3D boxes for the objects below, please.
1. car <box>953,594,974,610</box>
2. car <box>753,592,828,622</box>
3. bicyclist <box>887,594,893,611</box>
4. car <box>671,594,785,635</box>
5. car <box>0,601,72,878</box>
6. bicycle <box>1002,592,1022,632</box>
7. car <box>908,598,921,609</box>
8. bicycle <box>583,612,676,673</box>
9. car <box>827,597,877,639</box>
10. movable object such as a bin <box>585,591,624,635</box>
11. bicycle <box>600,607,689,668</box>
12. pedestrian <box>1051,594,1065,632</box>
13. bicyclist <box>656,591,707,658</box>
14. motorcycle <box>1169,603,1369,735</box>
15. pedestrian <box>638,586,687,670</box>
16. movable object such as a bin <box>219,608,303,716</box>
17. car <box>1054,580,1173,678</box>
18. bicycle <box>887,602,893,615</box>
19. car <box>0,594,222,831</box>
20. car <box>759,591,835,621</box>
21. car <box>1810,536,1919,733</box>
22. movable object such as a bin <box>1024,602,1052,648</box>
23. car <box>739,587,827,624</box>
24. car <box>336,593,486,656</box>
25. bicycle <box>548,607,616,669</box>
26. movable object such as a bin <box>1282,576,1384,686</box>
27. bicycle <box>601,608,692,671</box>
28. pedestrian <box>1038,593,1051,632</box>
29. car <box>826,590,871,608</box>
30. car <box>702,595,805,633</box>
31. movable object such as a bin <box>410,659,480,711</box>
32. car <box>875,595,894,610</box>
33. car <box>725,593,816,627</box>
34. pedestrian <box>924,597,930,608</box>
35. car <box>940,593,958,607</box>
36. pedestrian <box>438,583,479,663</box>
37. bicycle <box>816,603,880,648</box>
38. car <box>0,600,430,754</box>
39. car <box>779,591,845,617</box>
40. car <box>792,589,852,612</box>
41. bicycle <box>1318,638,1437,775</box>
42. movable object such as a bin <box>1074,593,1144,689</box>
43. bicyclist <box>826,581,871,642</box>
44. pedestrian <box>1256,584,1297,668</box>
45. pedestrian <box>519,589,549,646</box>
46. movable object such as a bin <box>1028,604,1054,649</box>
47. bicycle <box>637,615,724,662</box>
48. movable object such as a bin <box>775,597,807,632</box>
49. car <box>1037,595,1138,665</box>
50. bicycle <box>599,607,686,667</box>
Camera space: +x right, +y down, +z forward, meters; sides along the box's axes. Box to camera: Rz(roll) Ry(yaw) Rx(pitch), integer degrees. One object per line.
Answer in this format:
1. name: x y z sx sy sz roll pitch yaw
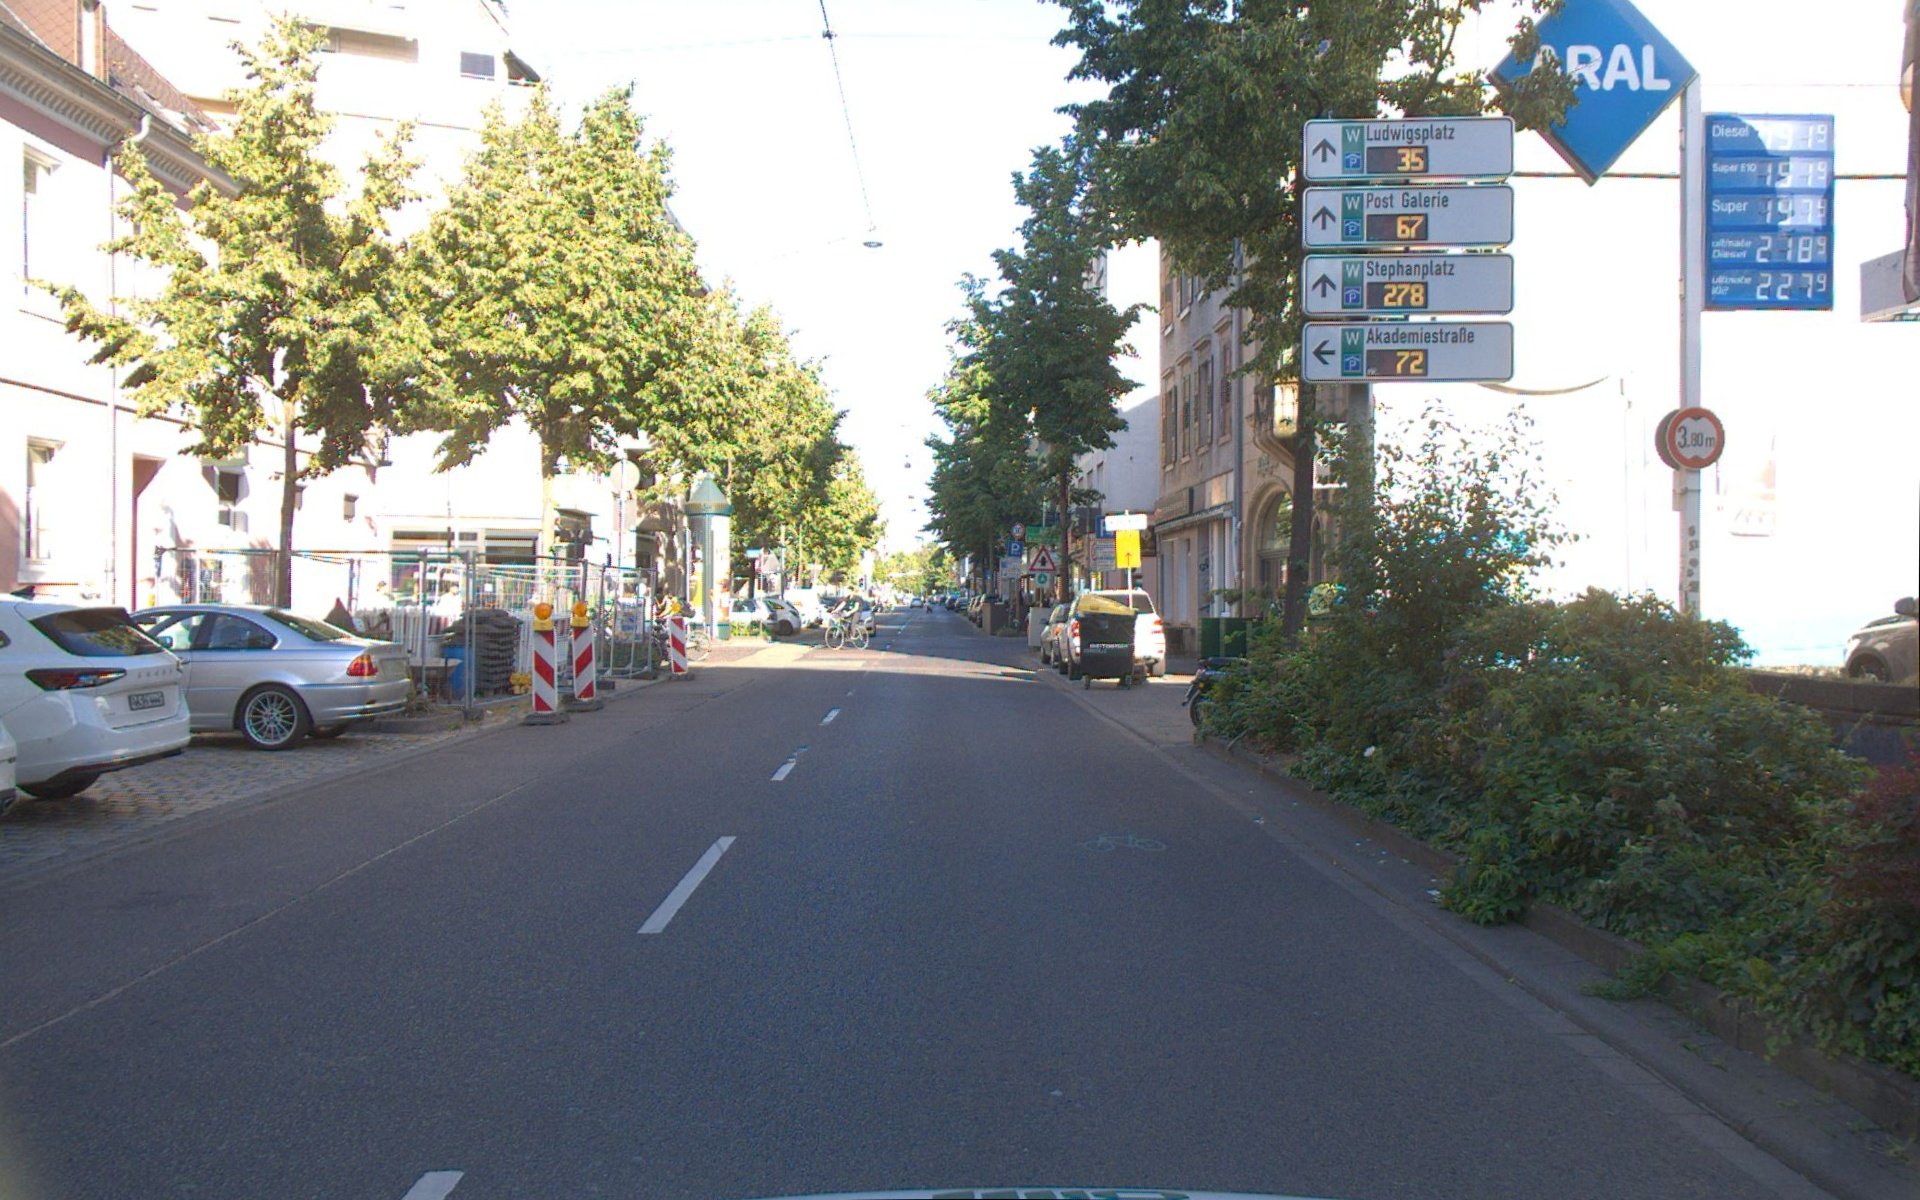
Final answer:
1. car: 0.370 0.228 165.521 1.953 1.534 3.999 0 0 -2
2. car: -9.195 0.386 90.019 3.907 1.526 1.999 -1 -1 -2
3. bicyclist: -6.437 0.246 151.370 0.549 1.575 0.728 0 -1 -1
4. car: -8.439 0.510 60.353 3.907 1.414 1.999 -1 0 -2
5. car: -7.439 0.746 8.624 4.588 1.491 1.806 0 0 -4
6. bicycle: 2.036 0.447 64.512 0.549 1.465 1.628 -6 1 -1
7. car: -6.164 0.459 222.929 1.756 1.436 3.999 -1 1 -1
8. bicycle: -6.696 0.859 33.567 1.820 1.191 0.599 1 0 -9
9. car: -4.170 0.664 64.516 1.766 1.460 4.407 -3 0 -2
10. movable object such as a bin: -12.431 0.455 57.830 1.117 1.511 1.235 -1 0 -3
11. bicycle: -6.709 0.794 35.254 1.820 1.274 0.599 1 0 -9
12. pedestrian: 4.336 0.560 73.388 0.536 1.678 0.664 -1 0 -2
13. bicyclist: -6.735 0.579 39.977 1.025 1.587 0.762 -1 0 -27
14. motorcycle: 3.362 0.724 18.039 1.943 1.353 0.908 -1 0 -14
15. pedestrian: -6.284 0.577 34.926 0.785 1.737 0.758 0 0 -34
16. movable object such as a bin: -8.100 0.709 19.191 0.717 1.207 0.744 -1 0 -10
17. car: 2.953 0.530 32.684 1.785 1.708 4.600 -3 0 -1
18. bicycle: -6.428 0.765 151.351 0.549 1.200 1.628 0 -1 -1
19. car: -7.700 0.704 11.180 4.588 1.491 1.806 0 0 -4
20. car: -8.641 0.301 87.867 3.907 1.526 1.999 -1 0 -2
21. car: 9.079 0.276 13.707 1.862 1.677 4.293 -1 0 0
22. movable object such as a bin: 2.183 0.698 46.305 0.691 1.244 0.680 -1 0 -4
23. car: -8.428 0.253 79.054 3.903 1.724 2.001 -1 0 3
24. car: -15.656 0.665 47.142 3.932 1.639 1.986 -1 0 -23
25. bicycle: -8.034 0.791 35.132 0.595 1.274 1.765 0 0 -43
26. movable object such as a bin: 5.814 0.465 25.864 1.181 1.656 1.497 -1 0 -3
27. bicycle: -6.483 0.823 34.245 1.820 1.274 0.599 1 0 -9
28. pedestrian: 3.740 0.552 73.150 0.535 1.678 0.664 -1 0 0
29. car: -9.850 -0.069 146.693 3.907 1.526 1.999 -1 0 -2
30. car: -8.223 0.552 66.146 3.907 1.414 1.999 -1 0 -2
31. movable object such as a bin: -6.882 1.129 22.151 0.615 0.627 1.077 -1 0 -1
32. car: -7.571 0.259 165.538 1.786 1.415 4.299 -3 0 -2
33. car: -8.721 0.455 76.248 3.903 1.482 1.869 -1 0 3
34. pedestrian: -3.187 0.279 160.421 0.534 1.044 0.546 -1 0 -3
35. car: -1.278 -0.035 185.217 1.953 1.534 3.999 0 0 -2
36. pedestrian: -10.825 0.489 35.701 0.598 1.682 0.813 -1 0 2
37. bicycle: -3.187 0.714 47.412 0.707 1.241 2.028 -1 0 35
38. car: -7.889 0.730 16.581 4.588 1.437 1.806 0 0 -4
39. car: -9.077 0.221 101.808 3.907 1.526 1.999 -1 0 -2
40. car: -9.378 0.038 112.573 3.907 1.526 1.999 -1 0 -2
41. bicycle: 3.494 0.853 13.757 0.427 1.006 1.667 -1 0 33
42. movable object such as a bin: 2.569 0.681 28.382 1.118 1.589 1.460 -1 0 7
43. bicyclist: -3.185 0.332 47.414 0.707 1.722 1.153 -1 0 35
44. pedestrian: 6.038 0.486 31.554 0.598 1.567 0.699 -1 0 -2
45. pedestrian: -12.765 0.509 49.540 0.756 1.671 0.689 -1 0 -7
46. movable object such as a bin: 2.222 0.727 45.467 0.609 1.200 0.711 -1 0 -3
47. bicycle: -6.751 0.921 39.979 1.926 1.077 0.762 -1 0 -27
48. movable object such as a bin: -7.435 0.617 72.841 1.307 1.504 1.480 -1 0 -2
49. car: 2.867 0.648 38.002 1.786 1.415 4.299 -3 0 -2
50. bicycle: -6.870 0.803 35.891 1.820 1.274 0.599 1 0 -9
